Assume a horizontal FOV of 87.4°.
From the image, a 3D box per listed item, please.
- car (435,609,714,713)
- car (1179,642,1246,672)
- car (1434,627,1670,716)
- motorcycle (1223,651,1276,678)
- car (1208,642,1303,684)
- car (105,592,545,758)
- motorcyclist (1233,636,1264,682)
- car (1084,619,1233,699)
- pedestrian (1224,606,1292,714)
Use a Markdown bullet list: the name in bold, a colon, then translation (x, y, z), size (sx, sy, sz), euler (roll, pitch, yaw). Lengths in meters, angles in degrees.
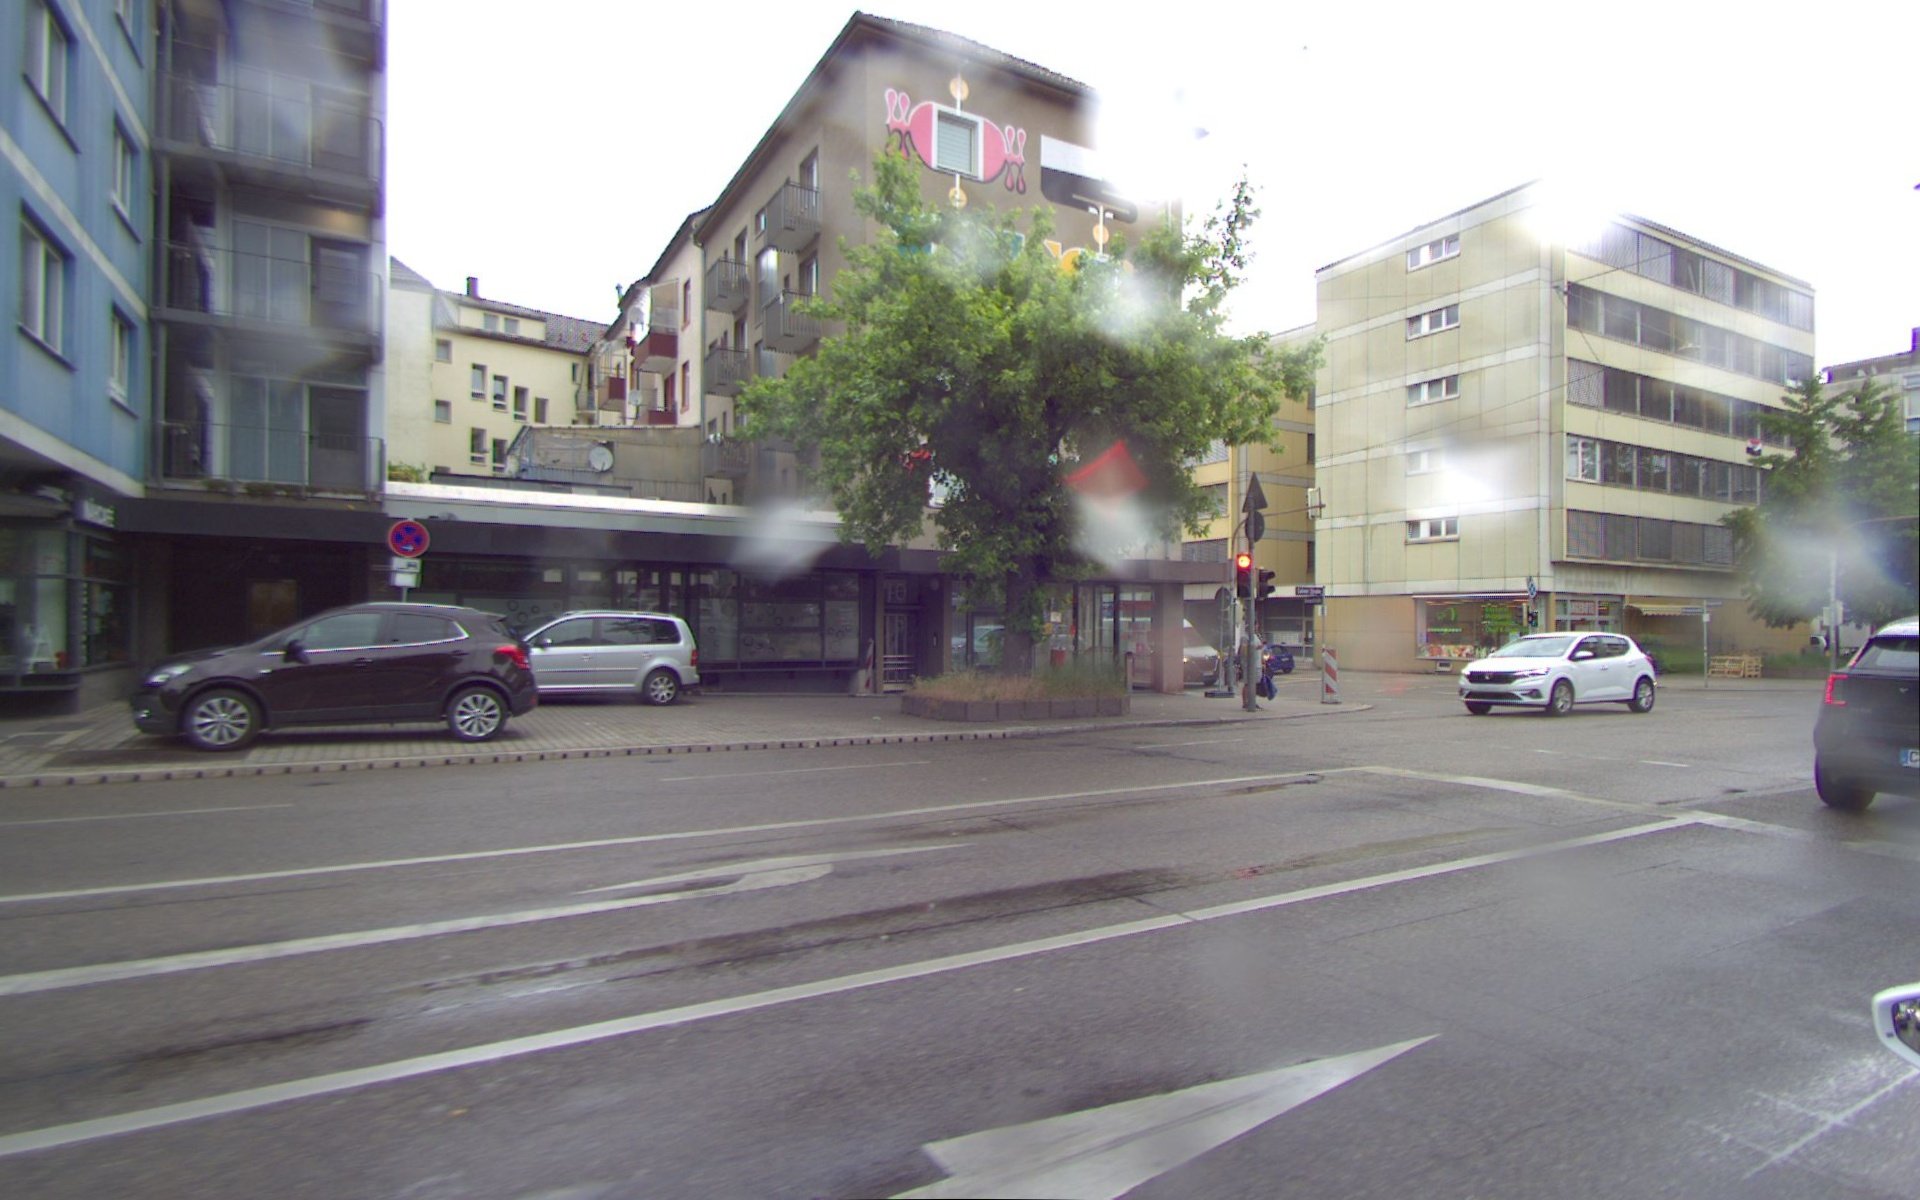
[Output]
- **car**: translation (-6.946, 1.047, 18.213), size (4.460, 1.676, 1.983), euler (2, -1, -31)
- **car**: translation (14.799, 3.310, 58.853), size (3.660, 1.598, 1.742), euler (0, -3, -34)
- **car**: translation (11.205, 1.313, 19.001), size (4.036, 1.513, 1.987), euler (1, -4, -28)
- **motorcycle**: translation (10.744, 2.389, 37.313), size (1.833, 0.948, 0.614), euler (-3, -4, 45)
- **car**: translation (14.501, 3.108, 49.569), size (2.008, 1.944, 4.420), euler (1, -4, -28)
- **car**: translation (-7.425, 0.827, 12.192), size (4.237, 1.728, 1.532), euler (1, 0, -30)
- **motorcyclist**: translation (10.725, 2.184, 37.340), size (0.908, 1.684, 0.704), euler (-2, -4, 43)
- **car**: translation (7.250, 2.216, 37.473), size (2.160, 2.747, 5.733), euler (1, -4, -31)
- **pedestrian**: translation (5.854, 1.174, 19.737), size (0.879, 2.040, 0.933), euler (2, -3, -39)
